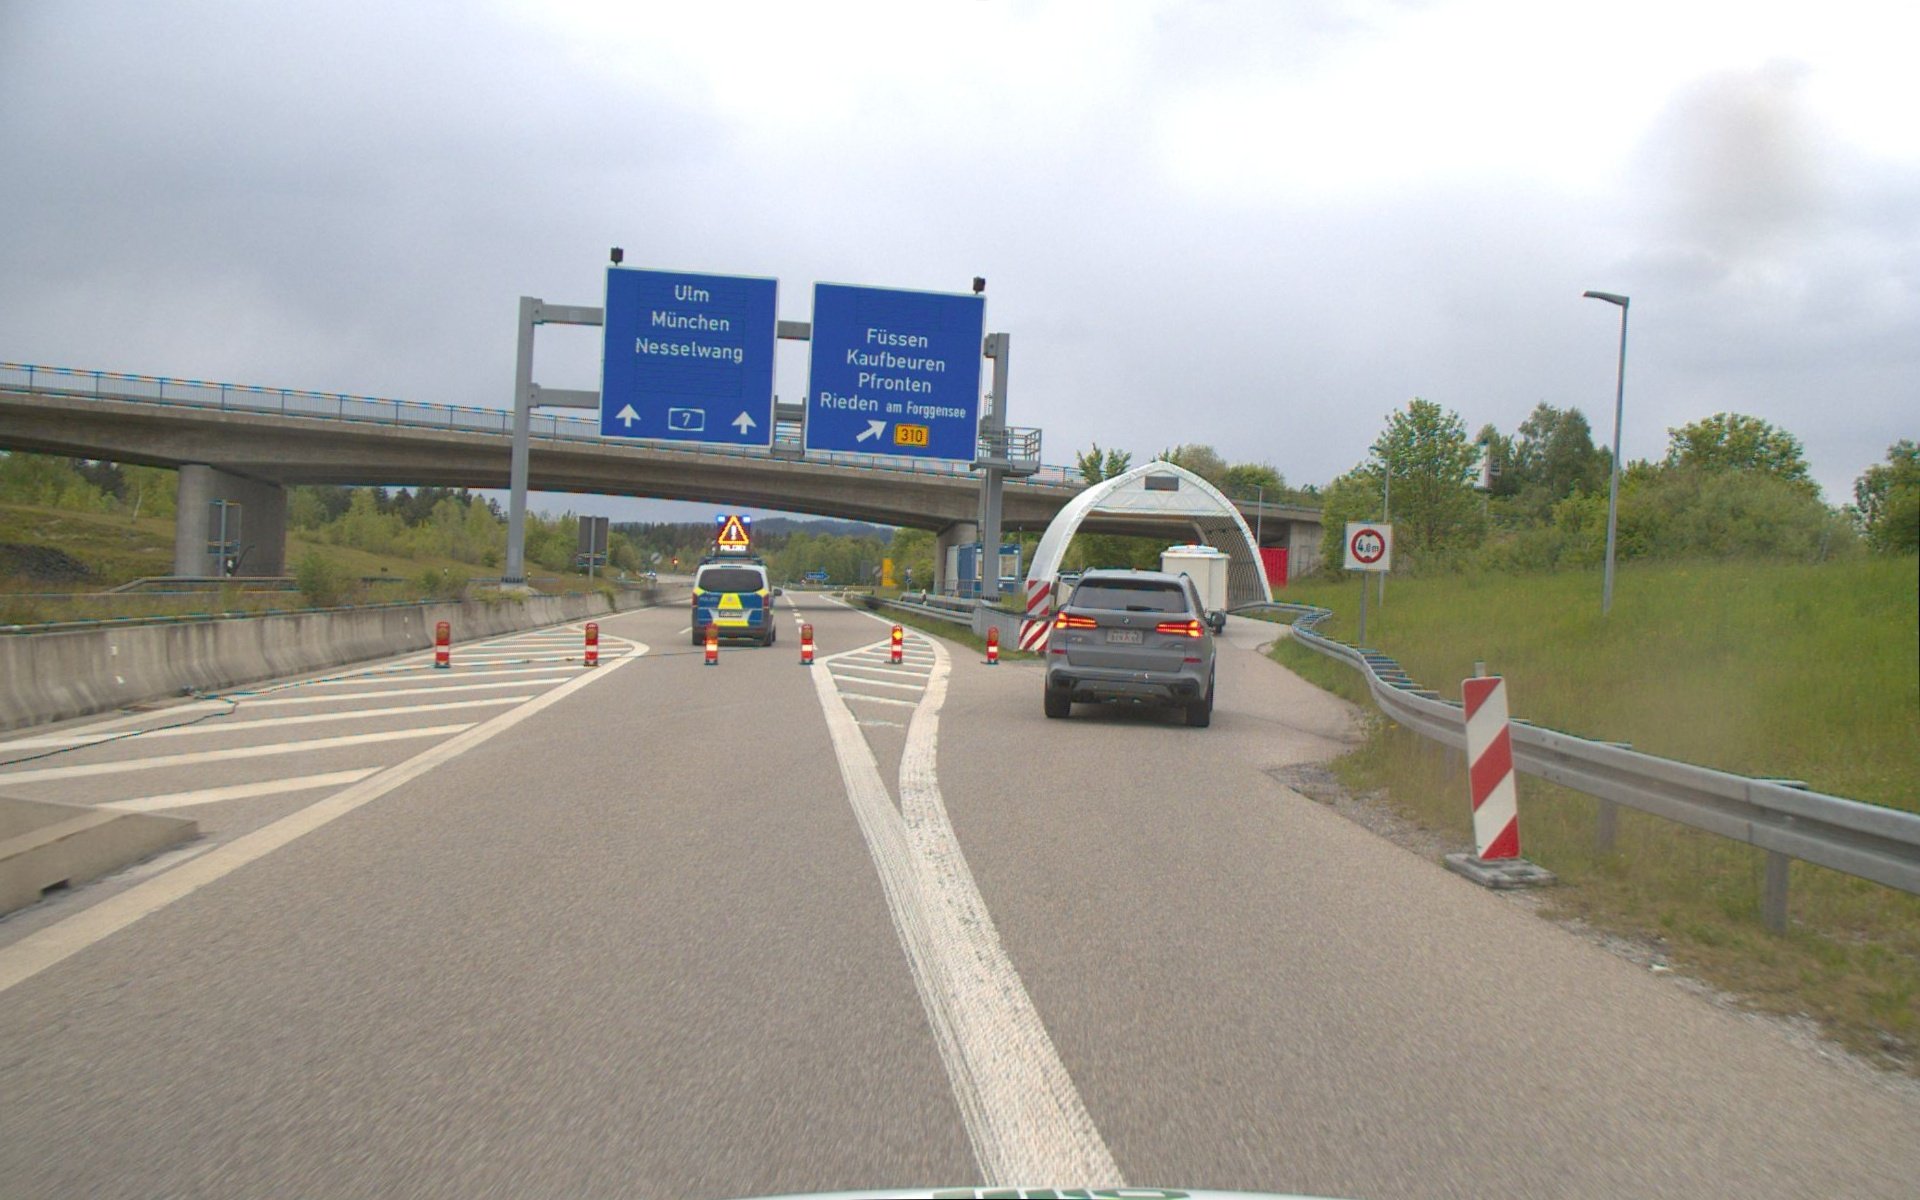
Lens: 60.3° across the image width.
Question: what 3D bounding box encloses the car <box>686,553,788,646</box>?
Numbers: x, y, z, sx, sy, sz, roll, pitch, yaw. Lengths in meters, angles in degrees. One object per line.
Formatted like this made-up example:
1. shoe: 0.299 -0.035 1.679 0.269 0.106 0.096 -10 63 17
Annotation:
1. car: -5.369 -0.064 39.934 2.243 2.048 5.042 1 1 -7

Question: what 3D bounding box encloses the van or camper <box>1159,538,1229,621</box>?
1. van or camper: 8.378 -0.712 59.633 2.111 2.812 5.875 1 0 5

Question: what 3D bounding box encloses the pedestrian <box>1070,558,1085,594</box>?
1. pedestrian: 6.442 -1.306 90.764 0.705 1.979 0.690 1 0 -2

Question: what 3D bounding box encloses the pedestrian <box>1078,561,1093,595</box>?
1. pedestrian: 6.786 -1.191 89.560 0.705 1.806 0.690 1 0 -2

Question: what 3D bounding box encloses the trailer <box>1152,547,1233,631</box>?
1. trailer: 7.421 -0.336 53.299 2.231 2.473 6.822 1 0 5

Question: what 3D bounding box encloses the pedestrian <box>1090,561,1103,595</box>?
1. pedestrian: 7.469 -1.211 90.474 0.635 1.806 0.605 1 0 -4

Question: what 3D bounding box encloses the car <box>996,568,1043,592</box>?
1. car: 3.677 -1.242 102.396 1.497 1.467 3.286 0 1 -27

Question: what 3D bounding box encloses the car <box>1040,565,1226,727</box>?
1. car: 2.231 0.489 20.370 1.951 1.749 4.004 1 0 10

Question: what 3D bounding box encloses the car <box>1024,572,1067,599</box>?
1. car: 6.645 -1.126 128.973 1.965 2.049 3.975 1 1 -21

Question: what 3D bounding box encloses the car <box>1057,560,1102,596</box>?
1. car: 6.260 -1.165 87.236 1.953 1.803 3.764 1 1 -2
